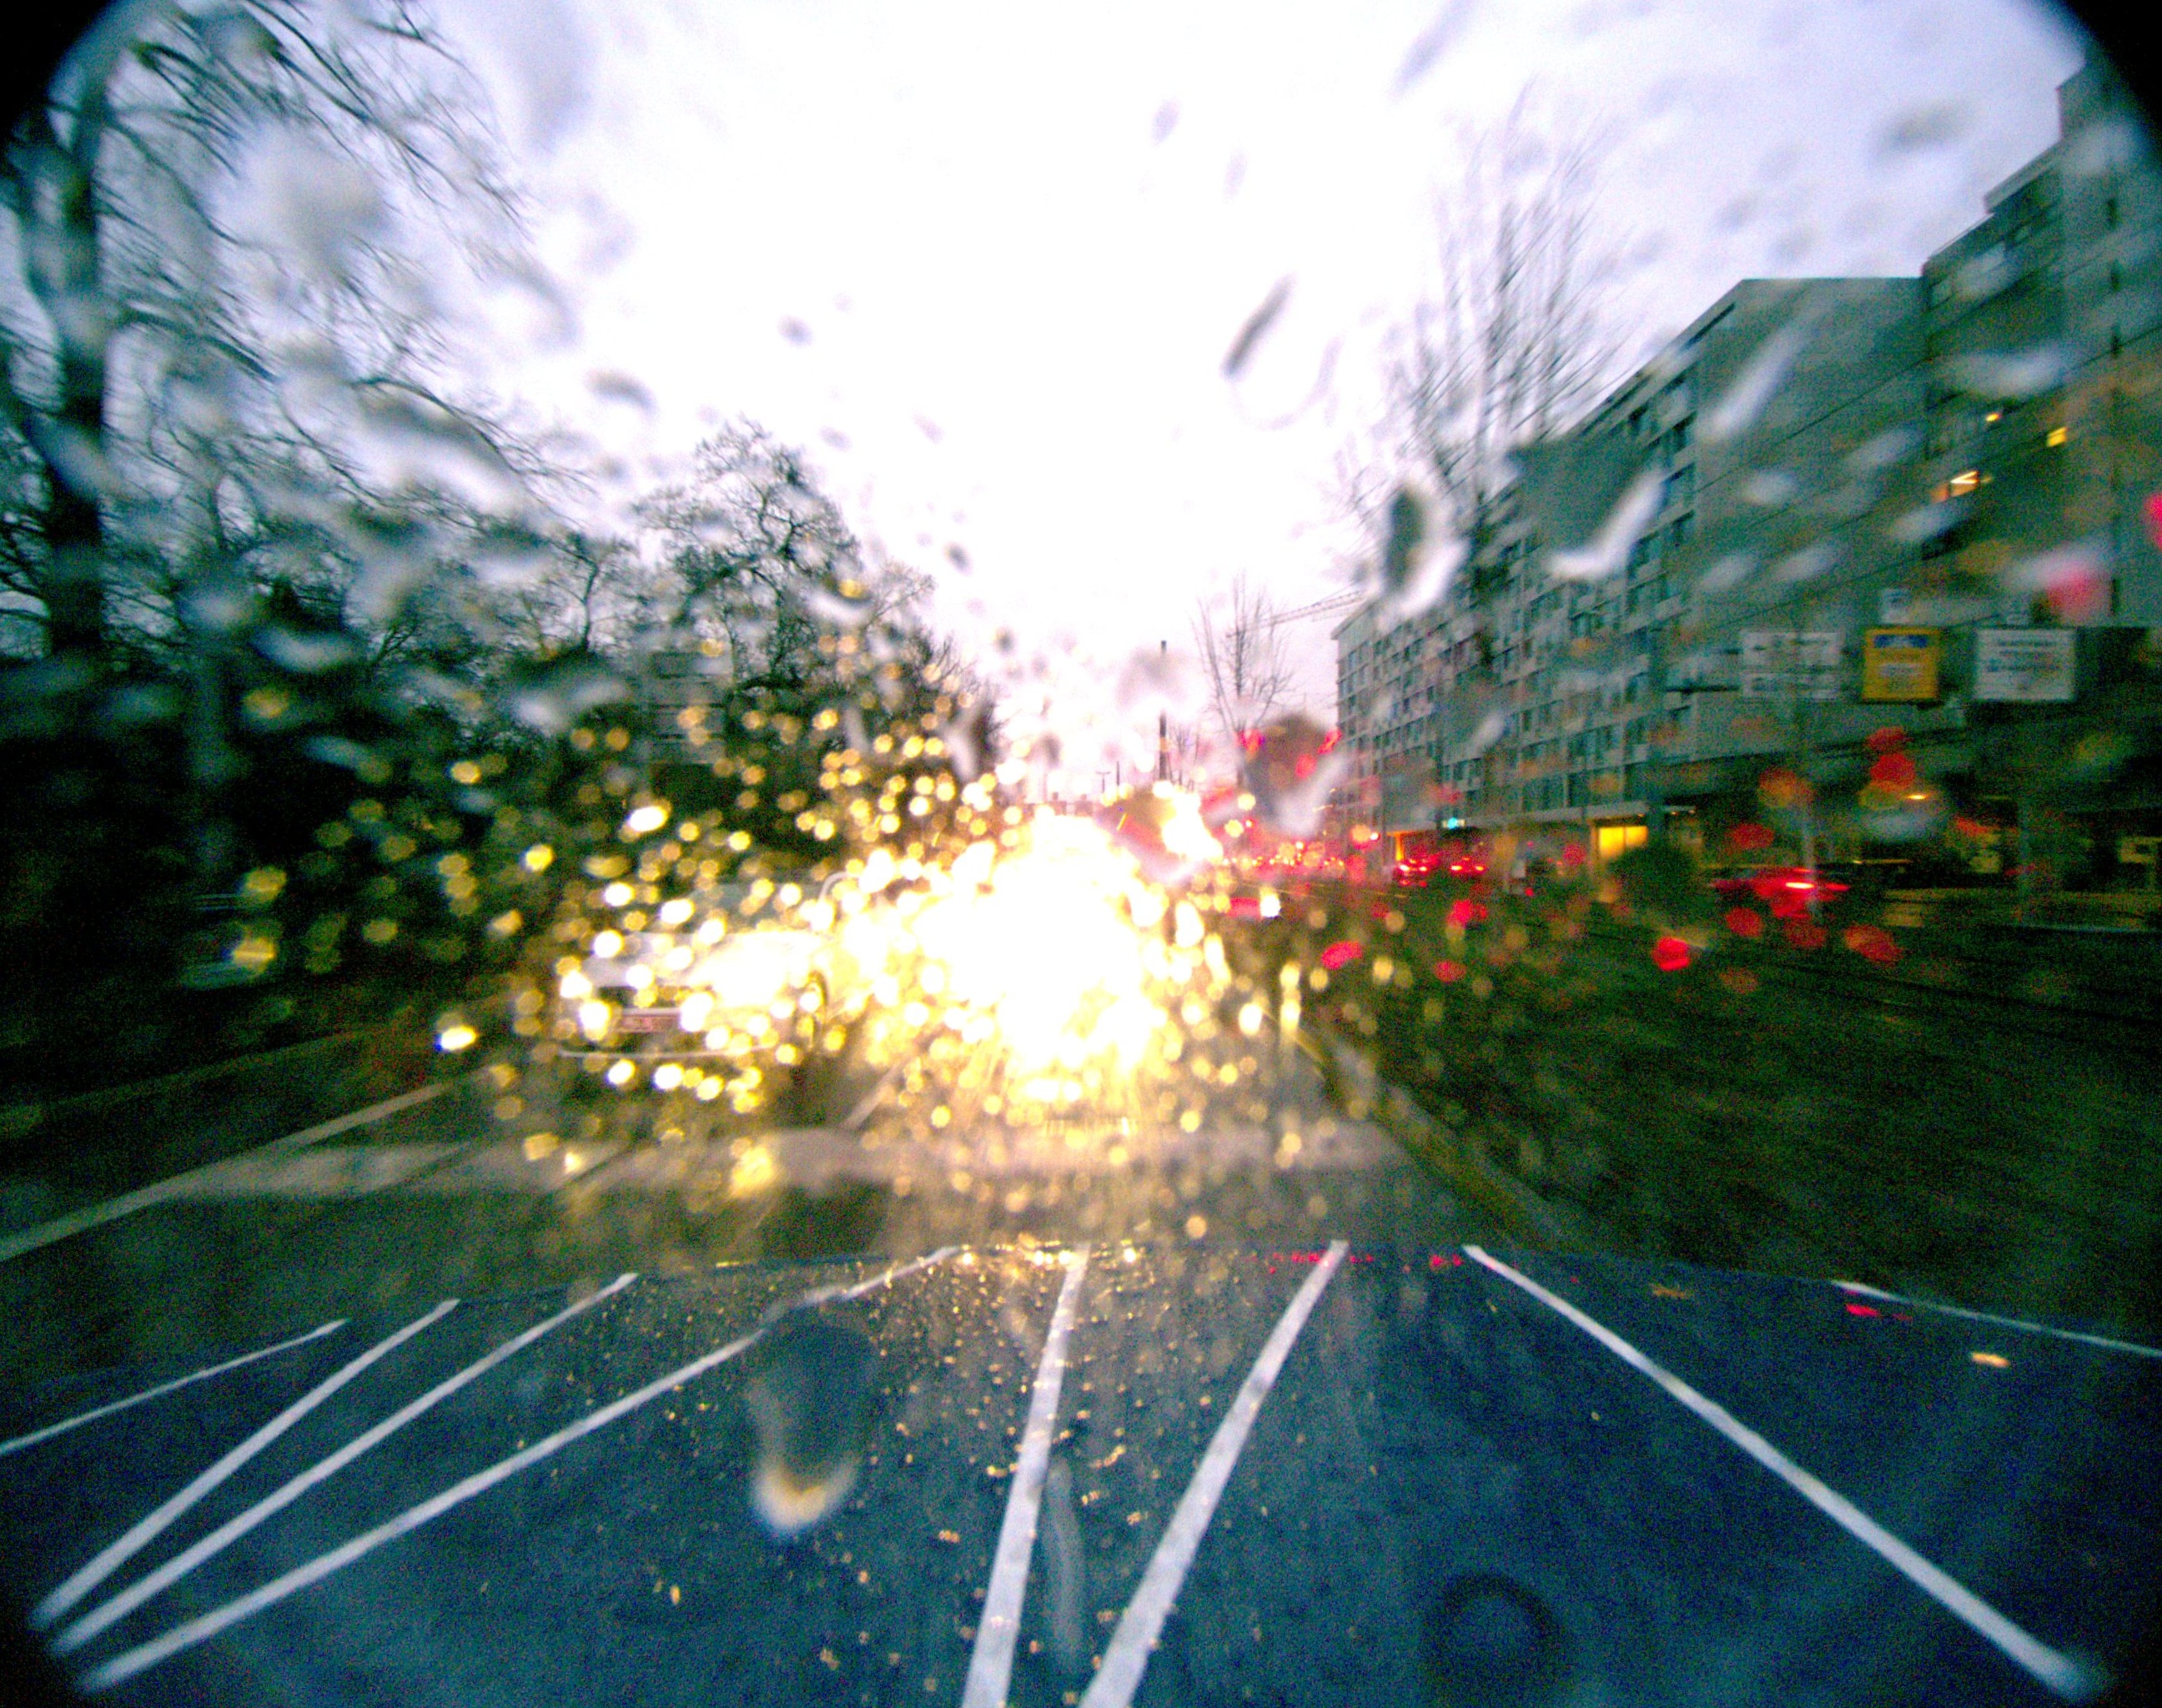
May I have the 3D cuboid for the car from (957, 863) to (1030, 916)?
[{"bbox_3d":[-2.769,1.091,24.963,1.880,1.490,4.076,0,1,0],"label":"car"}]

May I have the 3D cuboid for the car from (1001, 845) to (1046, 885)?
[{"bbox_3d":[-2.557,0.452,34.594,1.679,1.739,3.864,0,1,0],"label":"car"}]

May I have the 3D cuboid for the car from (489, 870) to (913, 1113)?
[{"bbox_3d":[-2.947,0.949,7.020,1.778,1.453,4.040,0,1,2],"label":"car"}]

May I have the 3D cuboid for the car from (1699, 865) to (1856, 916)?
[{"bbox_3d":[23.536,1.177,25.903,1.754,1.503,3.890,0,1,-1],"label":"car"}]

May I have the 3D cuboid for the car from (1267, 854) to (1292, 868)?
[{"bbox_3d":[21.167,0.730,81.228,1.596,1.440,3.872,0,1,-1],"label":"car"}]

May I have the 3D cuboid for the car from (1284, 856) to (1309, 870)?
[{"bbox_3d":[23.921,0.991,84.522,1.596,1.440,3.872,0,1,-1],"label":"car"}]

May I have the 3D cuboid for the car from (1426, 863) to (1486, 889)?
[{"bbox_3d":[23.042,1.351,46.835,1.754,1.440,3.872,0,1,-1],"label":"car"}]

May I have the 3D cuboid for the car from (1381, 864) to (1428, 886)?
[{"bbox_3d":[23.847,1.505,56.120,1.754,1.440,3.872,0,1,-1],"label":"car"}]

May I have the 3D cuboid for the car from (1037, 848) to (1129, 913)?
[{"bbox_3d":[0.067,0.614,19.911,2.160,1.490,4.007,0,1,0],"label":"car"}]

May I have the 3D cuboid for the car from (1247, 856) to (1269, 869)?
[{"bbox_3d":[20.771,1.039,89.422,1.596,1.440,3.872,0,1,-1],"label":"car"}]

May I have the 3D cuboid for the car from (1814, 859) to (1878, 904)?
[{"bbox_3d":[29.802,1.012,29.576,3.785,1.608,1.676,-1,1,-44],"label":"car"}]

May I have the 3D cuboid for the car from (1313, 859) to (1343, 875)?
[{"bbox_3d":[23.897,1.209,73.563,1.596,1.440,3.872,0,1,-1],"label":"car"}]

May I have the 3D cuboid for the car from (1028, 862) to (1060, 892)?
[{"bbox_3d":[-2.209,1.345,45.813,1.679,1.670,3.864,0,1,0],"label":"car"}]
